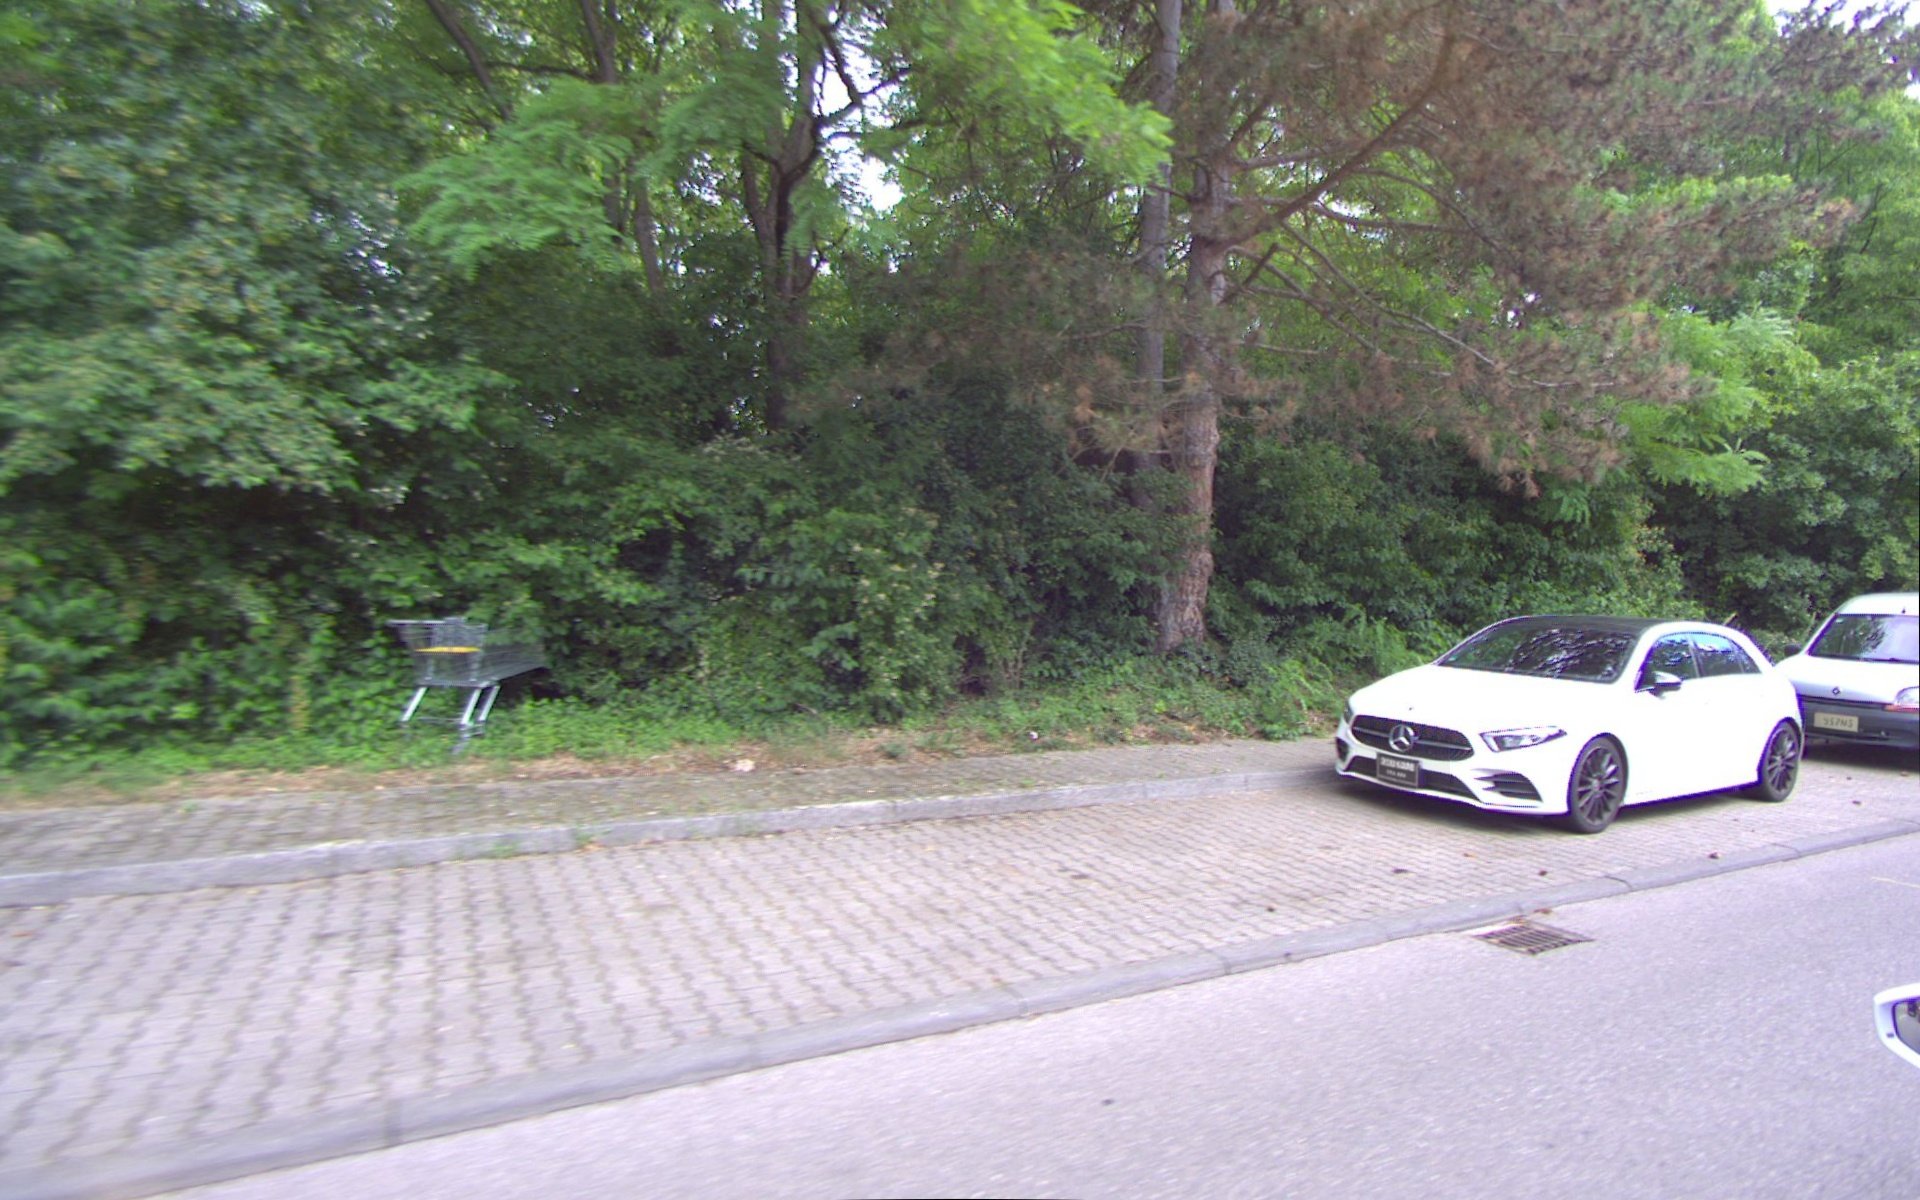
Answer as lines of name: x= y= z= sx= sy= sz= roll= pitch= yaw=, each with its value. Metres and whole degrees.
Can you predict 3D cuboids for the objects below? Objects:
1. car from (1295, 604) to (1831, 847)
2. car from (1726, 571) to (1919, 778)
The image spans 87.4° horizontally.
car: x=4.918 y=0.822 z=8.063 sx=4.320 sy=1.422 sz=1.797 roll=1 pitch=2 yaw=-30
car: x=10.644 y=0.721 z=11.216 sx=4.052 sy=1.947 sz=1.714 roll=1 pitch=2 yaw=-28
